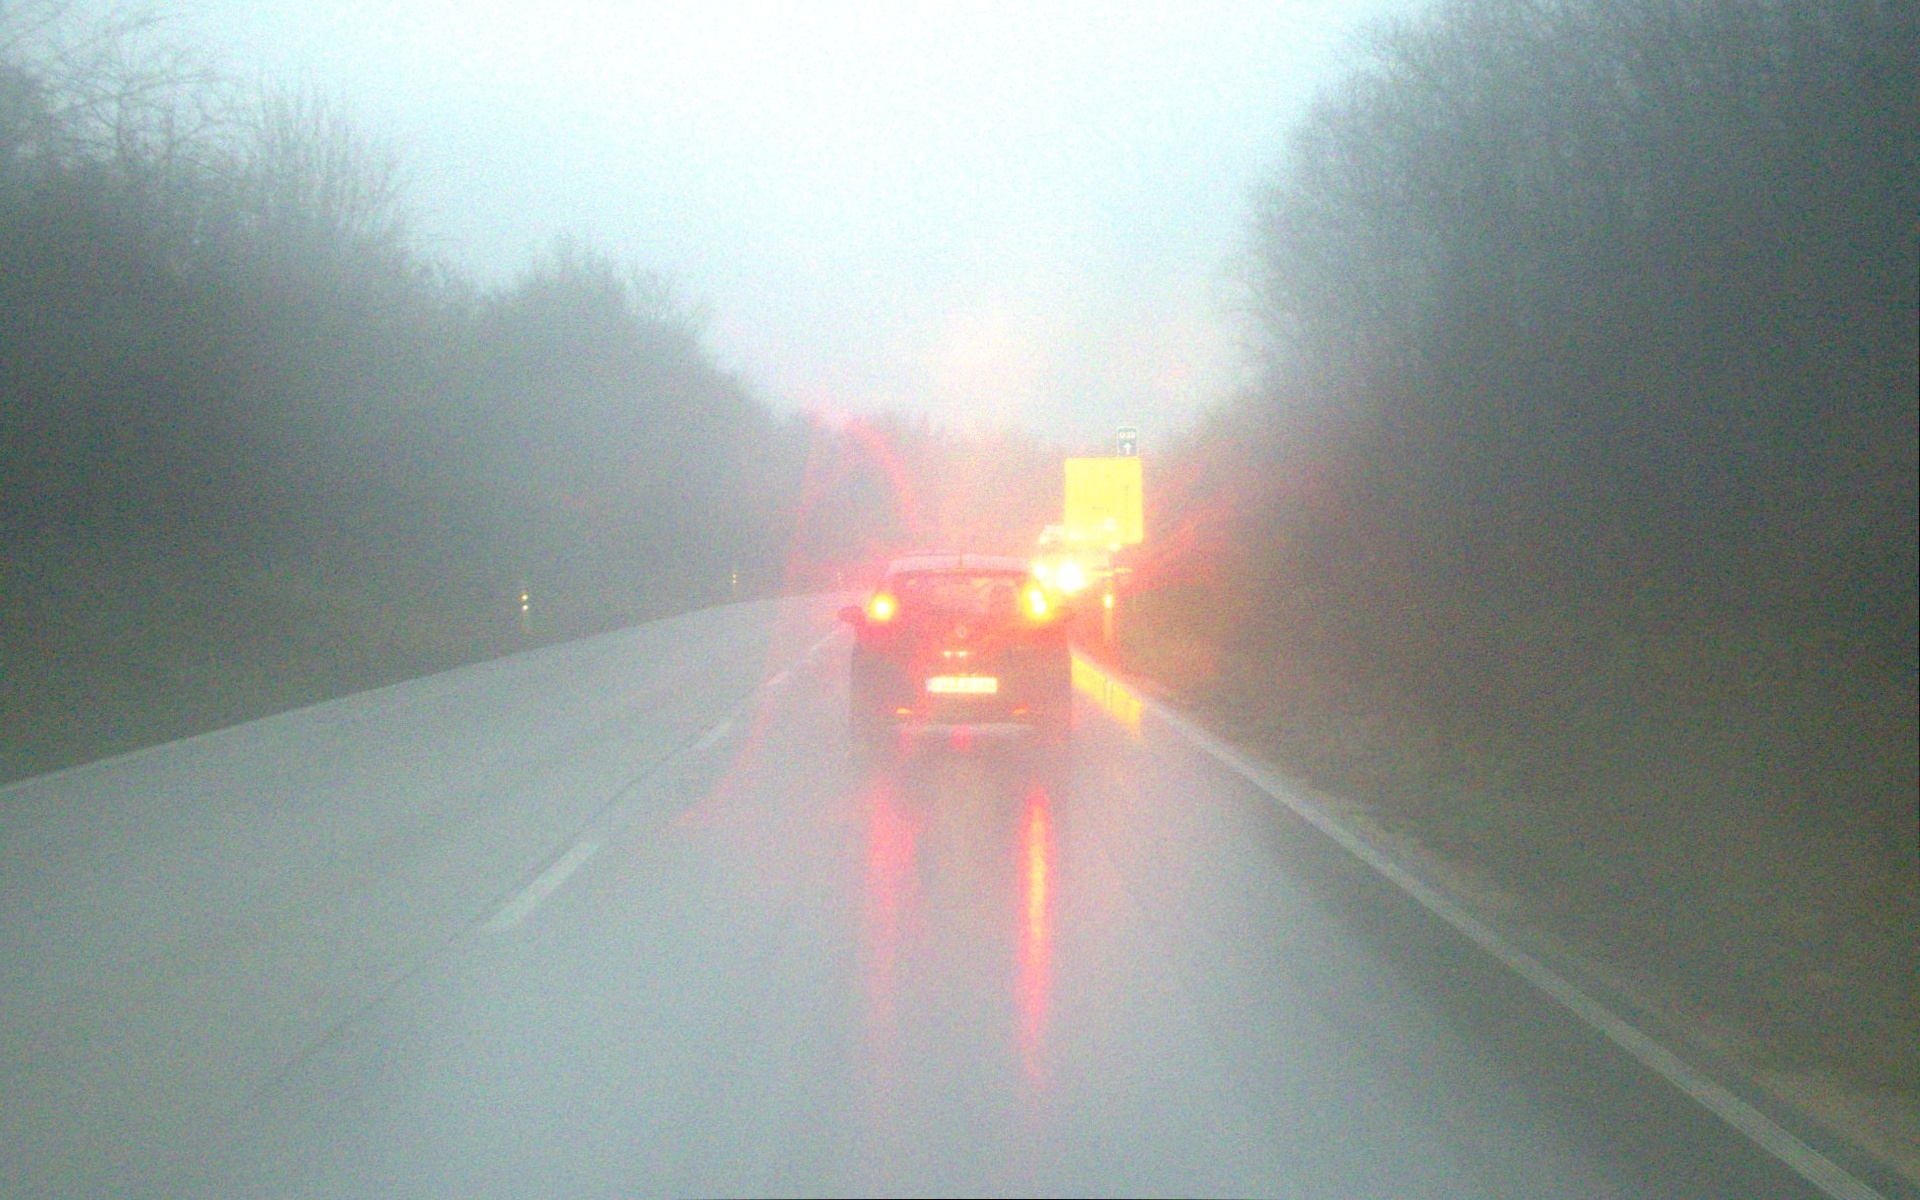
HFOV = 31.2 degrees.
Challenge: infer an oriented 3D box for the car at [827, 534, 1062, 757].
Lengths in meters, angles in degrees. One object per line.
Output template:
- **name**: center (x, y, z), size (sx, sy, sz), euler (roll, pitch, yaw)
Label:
- **car**: center (-0.096, 0.302, 27.273), size (1.728, 1.638, 4.000), euler (0, 1, 1)

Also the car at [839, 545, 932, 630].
- **car**: center (-1.451, -0.271, 68.648), size (1.728, 1.638, 4.000), euler (0, 1, 1)
